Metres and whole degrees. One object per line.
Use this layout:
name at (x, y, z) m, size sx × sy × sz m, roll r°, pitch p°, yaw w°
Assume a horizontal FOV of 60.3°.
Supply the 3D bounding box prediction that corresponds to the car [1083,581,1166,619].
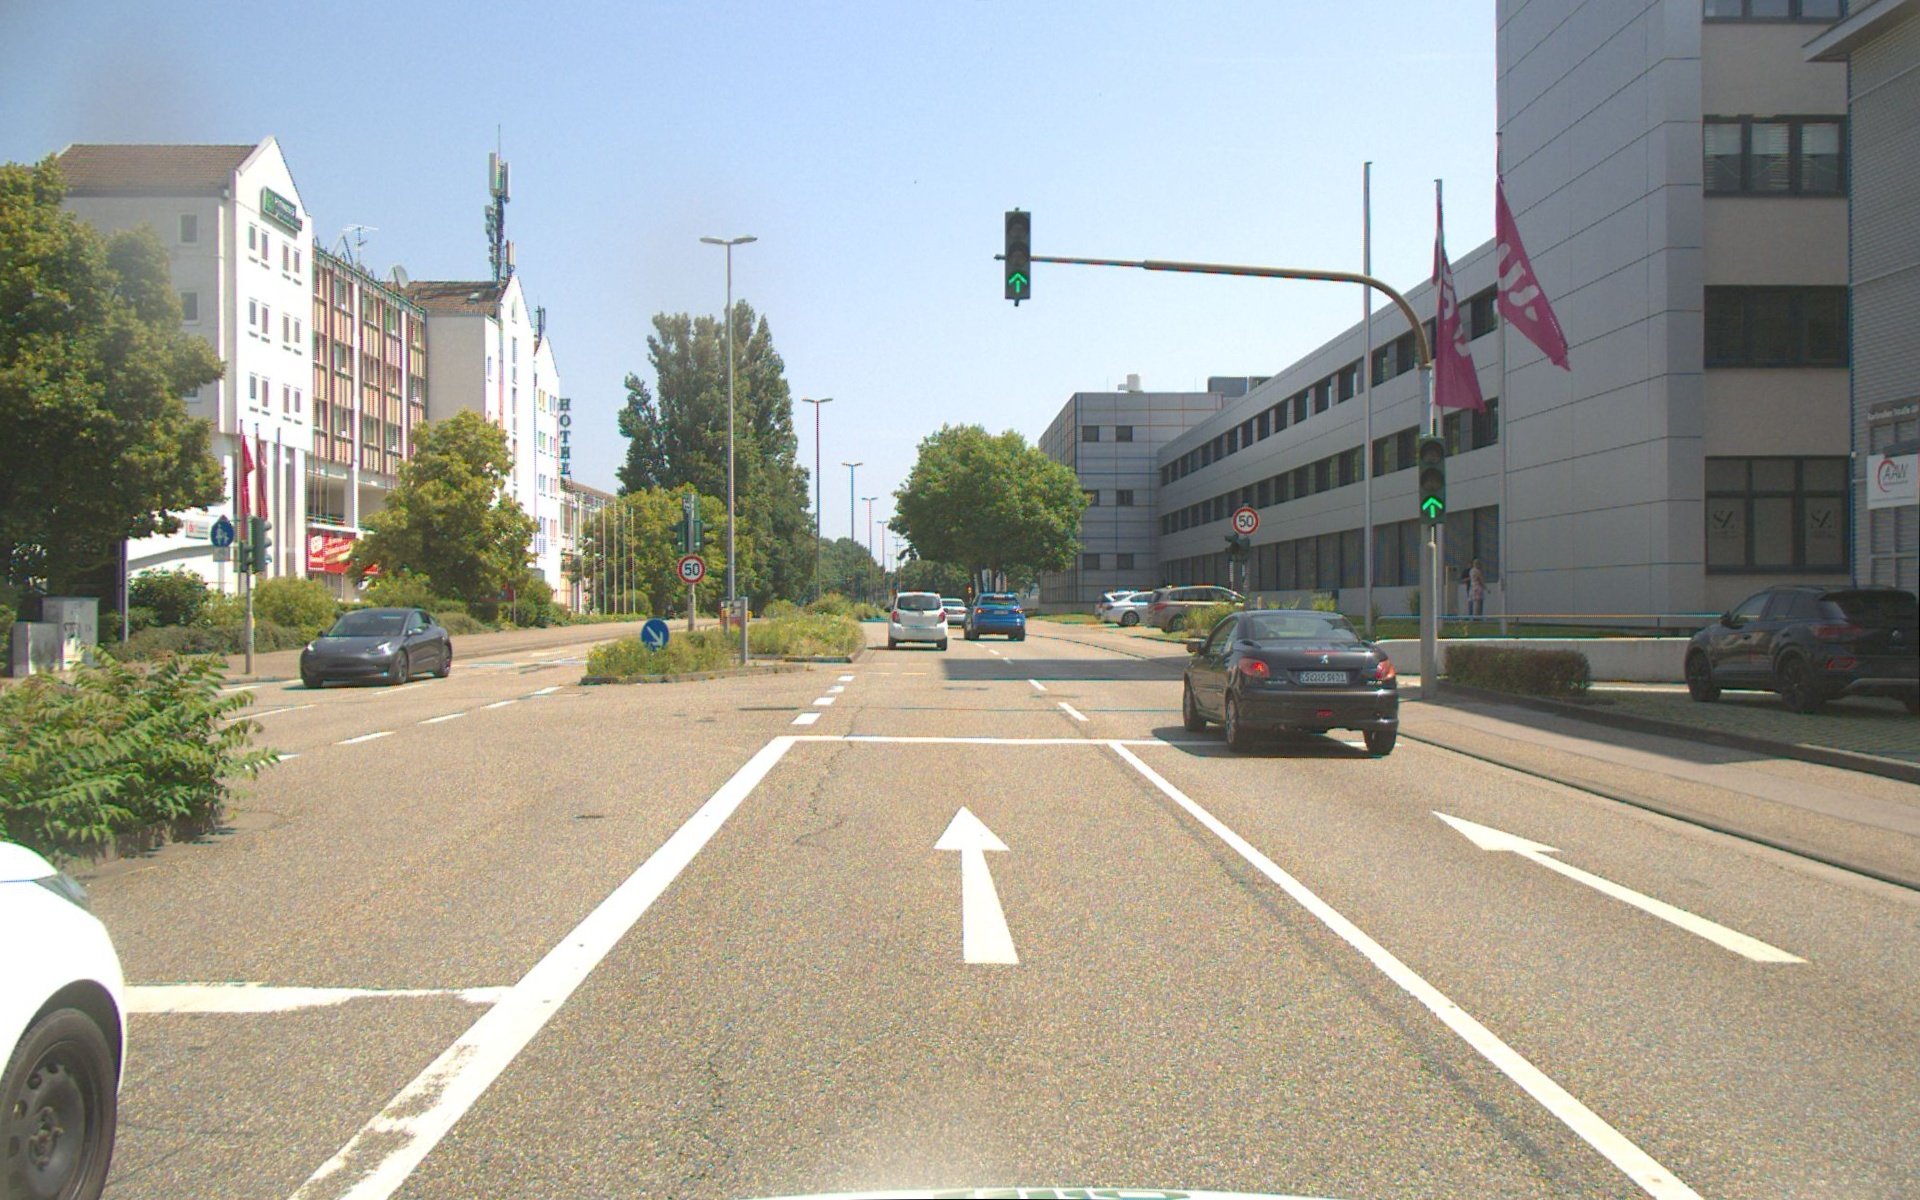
car at (8.107, -0.016, 81.524) m, size 3.739 × 1.619 × 1.730 m, roll -3°, pitch 0°, yaw -6°

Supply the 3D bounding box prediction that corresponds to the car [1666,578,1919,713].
car at (10.954, 0.528, 21.376) m, size 1.806 × 1.558 × 4.196 m, roll 1°, pitch 0°, yaw -1°

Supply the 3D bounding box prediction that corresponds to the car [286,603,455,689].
car at (-11.454, 0.845, 32.482) m, size 1.954 × 1.512 × 4.497 m, roll -1°, pitch 0°, yaw -4°

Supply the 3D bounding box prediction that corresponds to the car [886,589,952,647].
car at (-1.095, 0.470, 45.870) m, size 1.712 × 1.546 × 3.745 m, roll 0°, pitch 0°, yaw 0°

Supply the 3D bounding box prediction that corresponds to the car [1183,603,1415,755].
car at (3.427, 0.747, 17.314) m, size 1.594 × 1.388 × 3.604 m, roll 0°, pitch 0°, yaw -2°

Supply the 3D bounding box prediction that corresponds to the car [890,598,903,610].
car at (-9.250, 0.560, 240.692) m, size 1.784 × 1.691 × 3.996 m, roll -1°, pitch 1°, yaw -5°

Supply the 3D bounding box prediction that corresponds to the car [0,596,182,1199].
car at (-2.837, 0.742, 2.435) m, size 1.654 × 1.459 × 3.710 m, roll -1°, pitch 0°, yaw -1°

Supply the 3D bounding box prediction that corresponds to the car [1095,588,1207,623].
car at (8.291, 0.250, 72.017) m, size 4.524 × 1.414 × 1.998 m, roll -1°, pitch 0°, yaw -6°

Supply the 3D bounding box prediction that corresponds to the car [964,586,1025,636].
car at (1.151, 0.353, 56.483) m, size 1.791 × 1.608 × 3.603 m, roll -1°, pitch 0°, yaw -3°

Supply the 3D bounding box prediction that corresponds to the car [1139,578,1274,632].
car at (8.371, 0.167, 56.380) m, size 4.177 × 1.718 × 1.998 m, roll -1°, pitch 0°, yaw -6°

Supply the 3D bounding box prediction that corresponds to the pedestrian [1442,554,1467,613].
pedestrian at (14.279, -0.478, 47.796) m, size 0.580 × 1.663 × 0.524 m, roll -1°, pitch 0°, yaw 7°

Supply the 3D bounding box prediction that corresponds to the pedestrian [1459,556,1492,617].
pedestrian at (14.440, -0.380, 46.349) m, size 0.514 × 1.692 × 0.753 m, roll -1°, pitch 0°, yaw -19°

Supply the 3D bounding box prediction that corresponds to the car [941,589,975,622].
car at (-0.073, 0.253, 80.313) m, size 1.527 × 1.546 × 3.606 m, roll -1°, pitch 0°, yaw 1°
